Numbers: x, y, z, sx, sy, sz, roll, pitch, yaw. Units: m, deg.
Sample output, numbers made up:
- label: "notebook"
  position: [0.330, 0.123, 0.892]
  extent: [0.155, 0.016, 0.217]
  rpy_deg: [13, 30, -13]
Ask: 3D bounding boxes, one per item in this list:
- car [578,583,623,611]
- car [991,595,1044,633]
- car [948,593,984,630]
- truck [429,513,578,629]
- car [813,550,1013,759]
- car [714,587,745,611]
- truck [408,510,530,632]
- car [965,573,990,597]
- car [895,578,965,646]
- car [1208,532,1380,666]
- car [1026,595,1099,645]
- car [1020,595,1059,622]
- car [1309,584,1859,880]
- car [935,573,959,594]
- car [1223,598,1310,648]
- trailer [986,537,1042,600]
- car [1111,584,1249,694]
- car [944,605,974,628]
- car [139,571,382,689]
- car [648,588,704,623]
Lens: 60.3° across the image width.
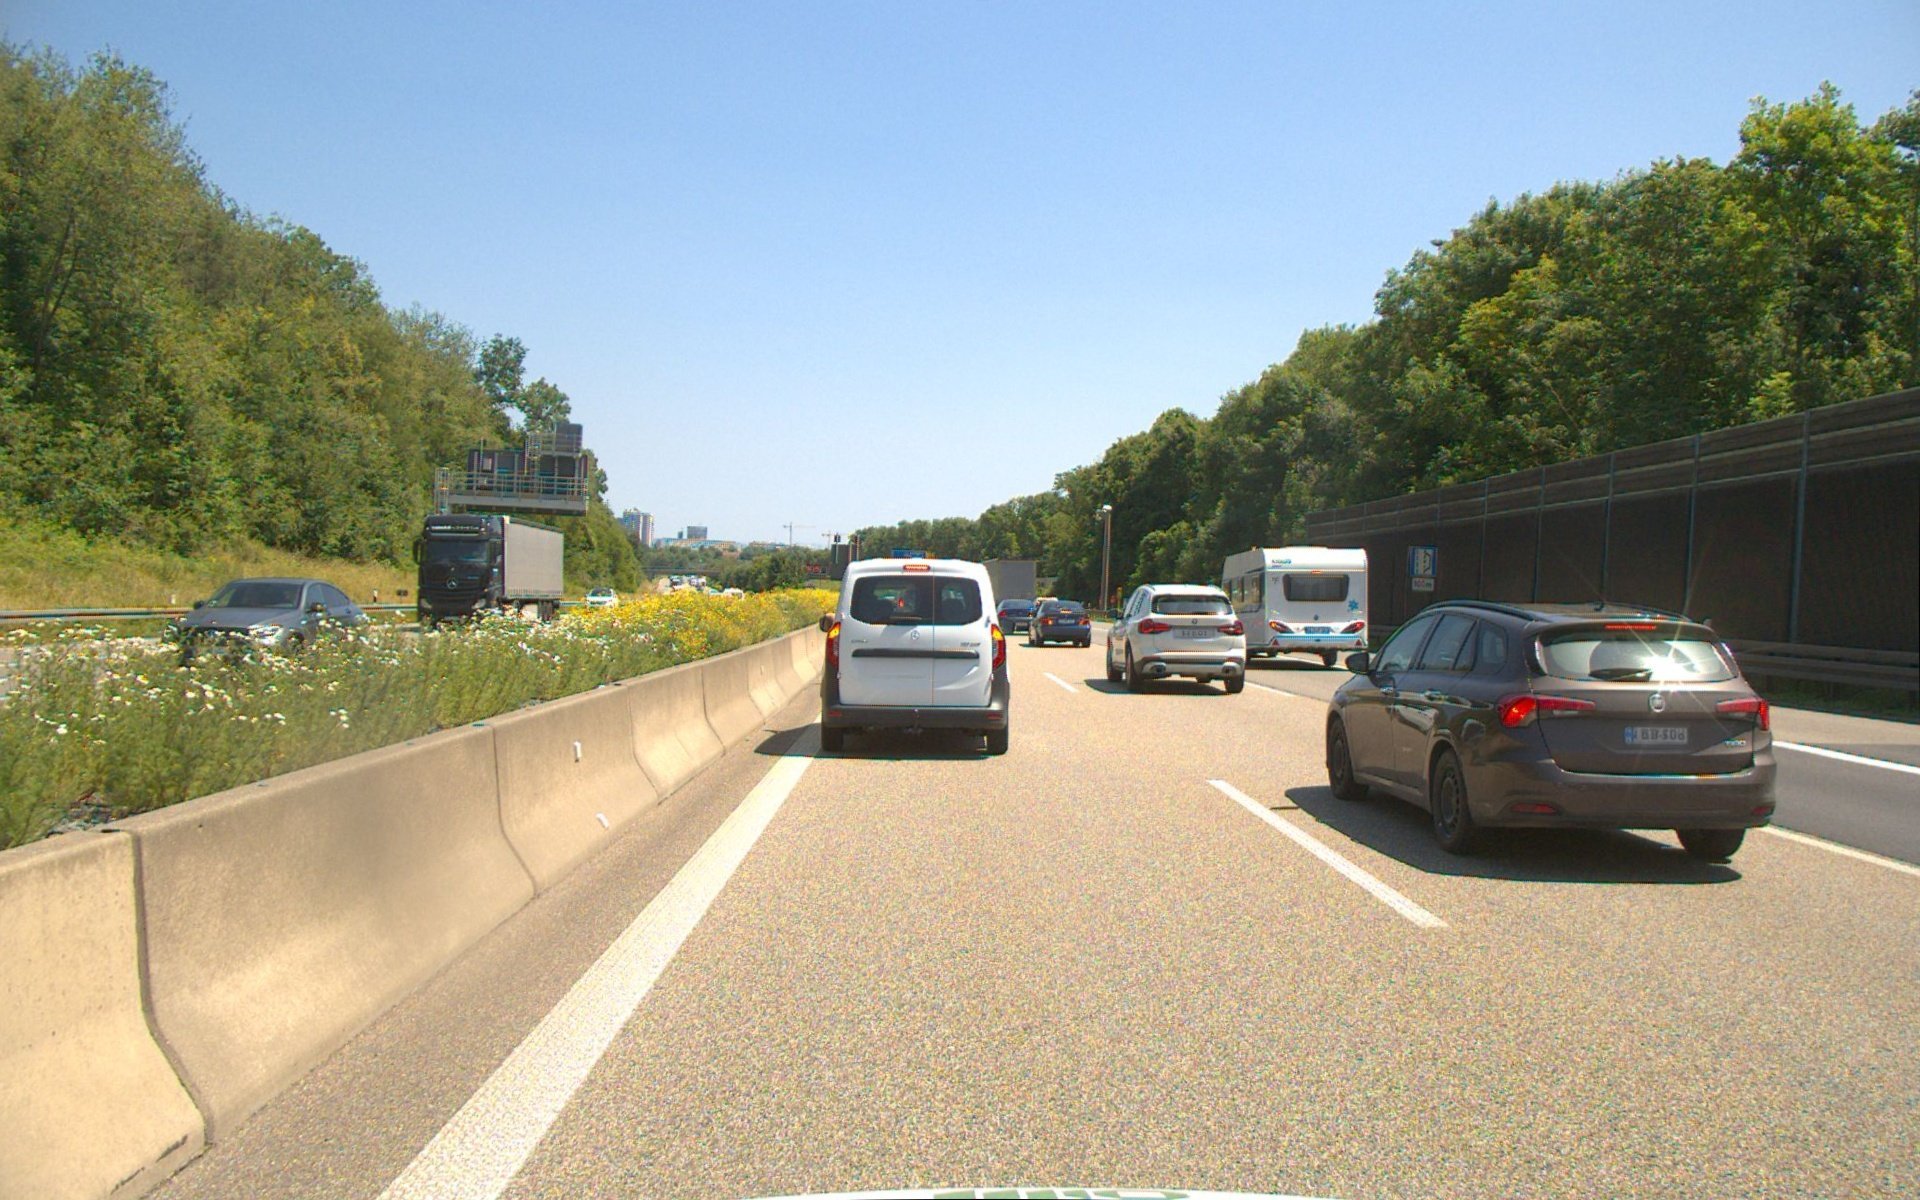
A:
- label: "car"
  position: [-23.060, -0.218, 106.261]
  extent: [1.953, 1.721, 4.765]
  rpy_deg: [1, 0, -2]
- label: "car"
  position: [2.261, 0.547, 66.209]
  extent: [1.787, 1.449, 3.998]
  rpy_deg: [1, 0, -3]
- label: "car"
  position: [0.327, 0.627, 91.768]
  extent: [1.787, 2.024, 3.998]
  rpy_deg: [1, 0, -3]
- label: "truck"
  position: [-17.518, -1.054, 64.662]
  extent: [2.773, 4.007, 13.736]
  rpy_deg: [1, 0, -3]
- label: "car"
  position: [-0.361, 0.480, 16.815]
  extent: [1.765, 1.839, 4.001]
  rpy_deg: [1, 0, 2]
- label: "car"
  position: [-17.431, -0.062, 125.144]
  extent: [1.847, 1.786, 4.275]
  rpy_deg: [1, 0, -2]
- label: "truck"
  position: [-17.108, -0.977, 58.032]
  extent: [2.773, 4.008, 6.002]
  rpy_deg: [1, 0, -4]
- label: "car"
  position: [1.491, -1.298, 143.635]
  extent: [1.953, 2.049, 3.998]
  rpy_deg: [0, 0, -2]
- label: "car"
  position: [-0.944, 0.344, 49.013]
  extent: [1.954, 1.892, 3.998]
  rpy_deg: [1, 0, -3]
- label: "car"
  position: [7.530, -0.016, 38.095]
  extent: [2.429, 2.814, 6.216]
  rpy_deg: [1, 0, -3]
- label: "car"
  position: [3.055, 0.588, 50.149]
  extent: [1.787, 1.449, 3.998]
  rpy_deg: [1, 0, -3]
- label: "car"
  position: [4.457, 0.459, 93.123]
  extent: [1.787, 1.449, 3.998]
  rpy_deg: [1, 0, -3]
- label: "car"
  position: [3.783, 0.686, 10.974]
  extent: [1.801, 1.539, 4.399]
  rpy_deg: [1, 1, -3]
- label: "car"
  position: [-1.286, -1.593, 160.758]
  extent: [1.955, 2.049, 3.995]
  rpy_deg: [0, 0, -6]
- label: "car"
  position: [9.336, 0.677, 50.658]
  extent: [1.787, 1.449, 3.998]
  rpy_deg: [1, 0, -2]
- label: "trailer"
  position: [3.578, -2.054, 112.142]
  extent: [3.020, 4.055, 10.317]
  rpy_deg: [1, 0, -3]
- label: "car"
  position: [3.554, 0.578, 27.320]
  extent: [1.832, 1.636, 3.880]
  rpy_deg: [1, 1, 2]
- label: "car"
  position: [-0.085, 1.080, 109.470]
  extent: [1.787, 1.472, 3.998]
  rpy_deg: [1, 0, -3]
- label: "car"
  position: [-10.813, 0.421, 25.962]
  extent: [1.953, 1.656, 4.473]
  rpy_deg: [1, 0, -1]
- label: "car"
  position: [-13.017, 0.230, 76.013]
  extent: [1.953, 1.524, 4.246]
  rpy_deg: [1, 0, -2]
